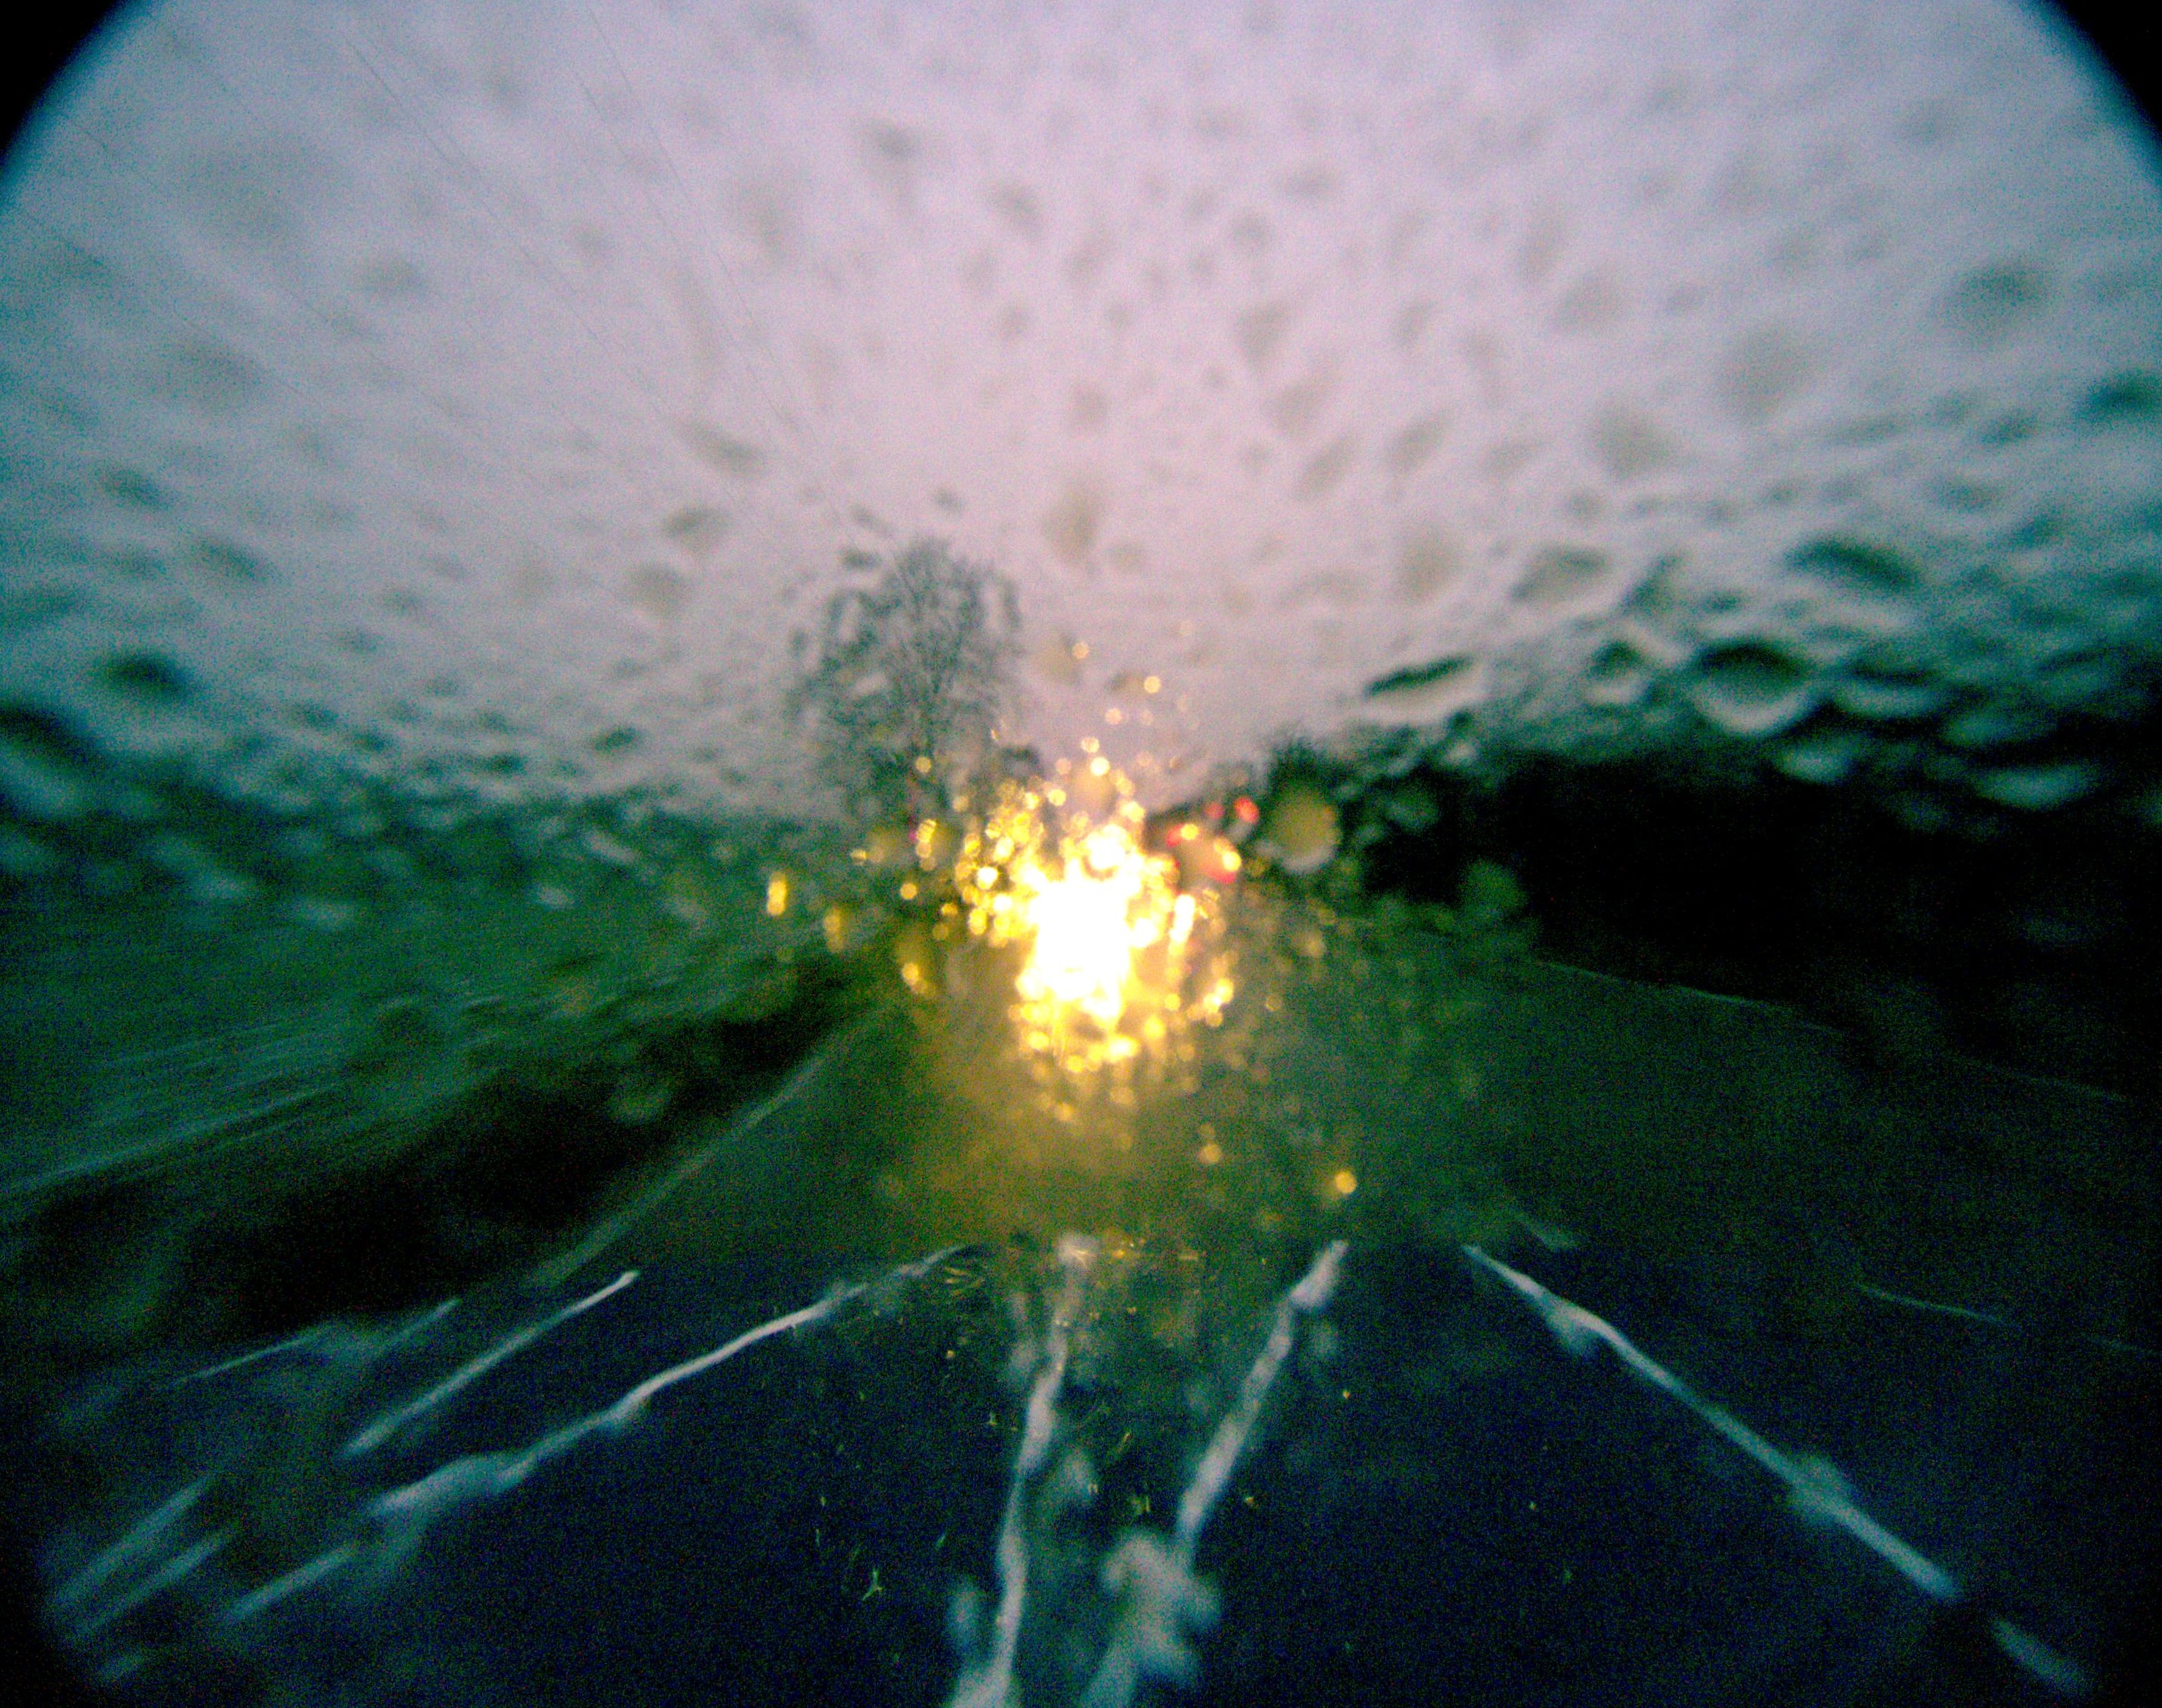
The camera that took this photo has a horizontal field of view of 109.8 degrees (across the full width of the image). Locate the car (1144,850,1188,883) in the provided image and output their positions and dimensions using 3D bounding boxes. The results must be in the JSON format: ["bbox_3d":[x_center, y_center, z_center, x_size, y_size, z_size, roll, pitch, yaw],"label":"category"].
[{"bbox_3d":[4.281,0.591,38.854,1.812,1.528,4.407,-1,1,1],"label":"car"}]

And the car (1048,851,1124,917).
[{"bbox_3d":[0.236,0.785,22.076,1.910,1.653,4.001,-3,0,3],"label":"car"}]
